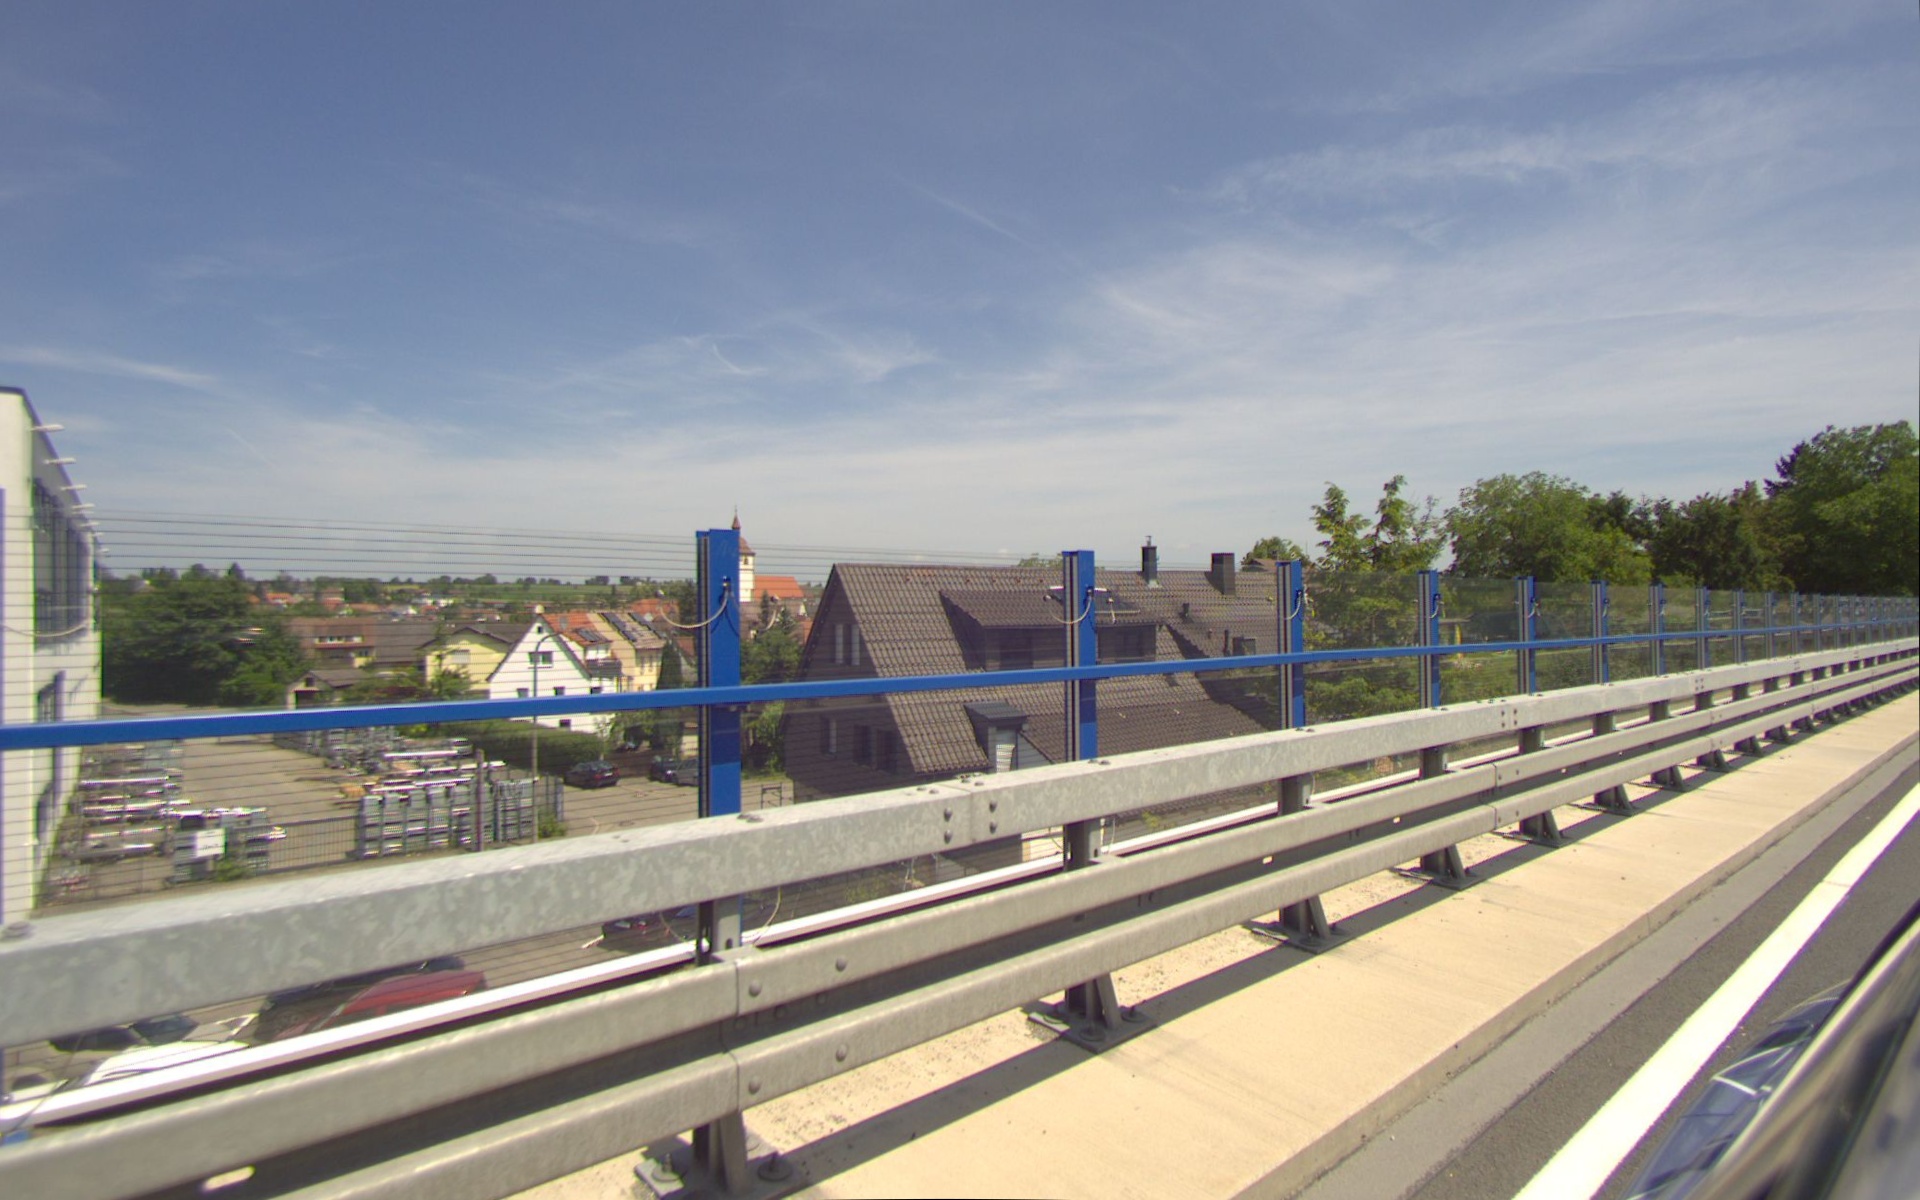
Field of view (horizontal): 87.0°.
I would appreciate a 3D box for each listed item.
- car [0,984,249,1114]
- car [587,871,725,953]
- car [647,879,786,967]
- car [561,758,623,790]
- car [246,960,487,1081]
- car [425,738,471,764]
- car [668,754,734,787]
[{"bbox_3d":[-16.732,8.872,20.073,3.917,1.385,1.729,-4,-5,-14],"label":"car"},{"bbox_3d":[-8.847,9.088,29.755,1.707,1.385,3.967,-7,-5,22],"label":"car"},{"bbox_3d":[-6.665,8.891,28.140,1.707,1.385,3.967,-7,-5,22],"label":"car"},{"bbox_3d":[-21.194,9.995,58.163,1.794,1.589,3.986,0,-7,-45],"label":"car"},{"bbox_3d":[-12.146,8.619,20.921,3.919,1.385,1.728,-4,-5,-9],"label":"car"},{"bbox_3d":[-37.007,10.936,73.087,1.794,1.589,3.986,0,-7,-45],"label":"car"},{"bbox_3d":[-14.663,9.661,57.163,1.794,1.589,3.986,0,-7,-45],"label":"car"}]
